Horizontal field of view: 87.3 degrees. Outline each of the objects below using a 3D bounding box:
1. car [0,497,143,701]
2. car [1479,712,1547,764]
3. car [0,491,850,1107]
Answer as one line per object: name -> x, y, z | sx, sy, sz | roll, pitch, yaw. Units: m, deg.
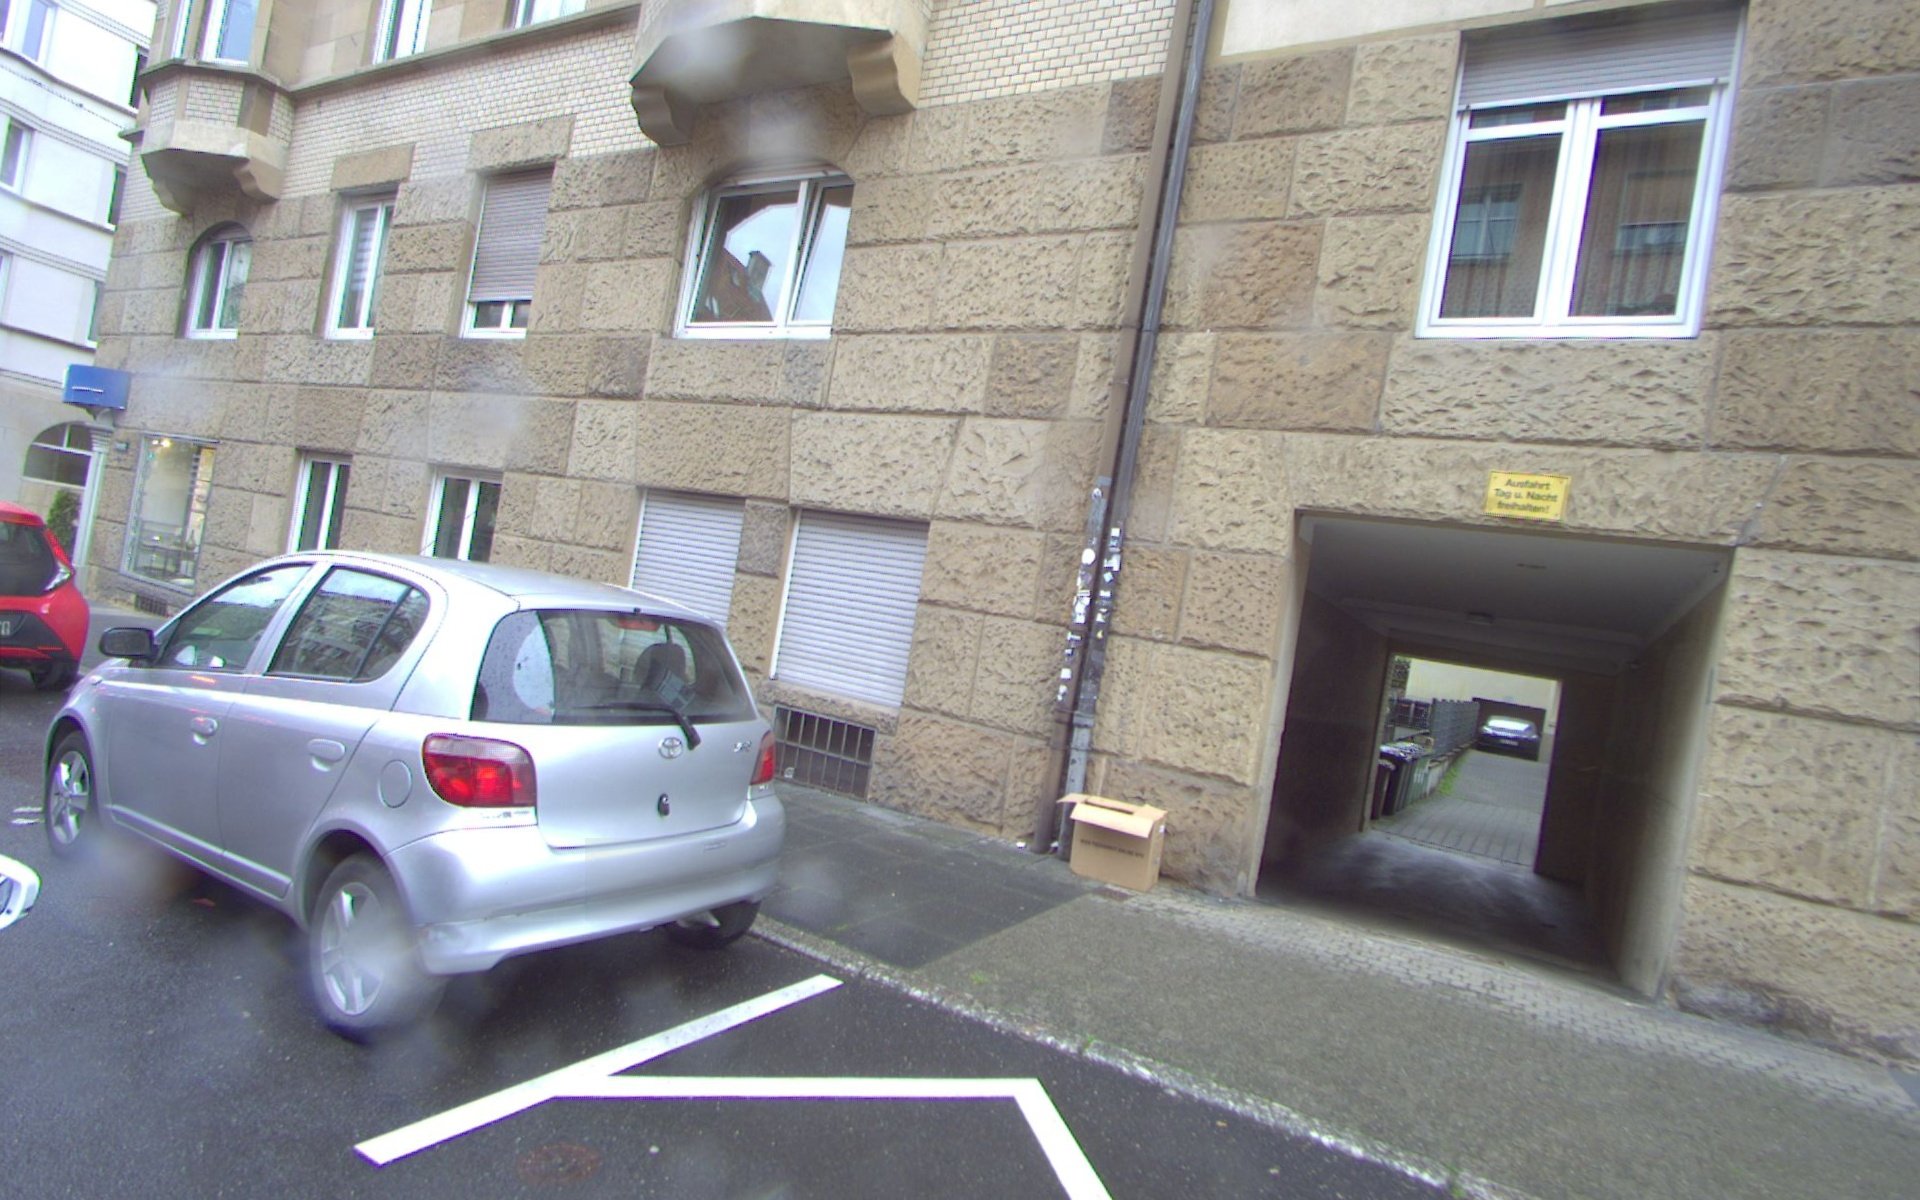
car -> -8.549, -0.198, 8.142 | 3.472, 1.469, 1.711 | 7, -3, 29
car -> 18.533, 4.568, 33.780 | 1.764, 1.362, 4.014 | 6, -2, 29
car -> -2.402, 0.503, 4.278 | 3.464, 1.504, 1.597 | 7, -1, 32
